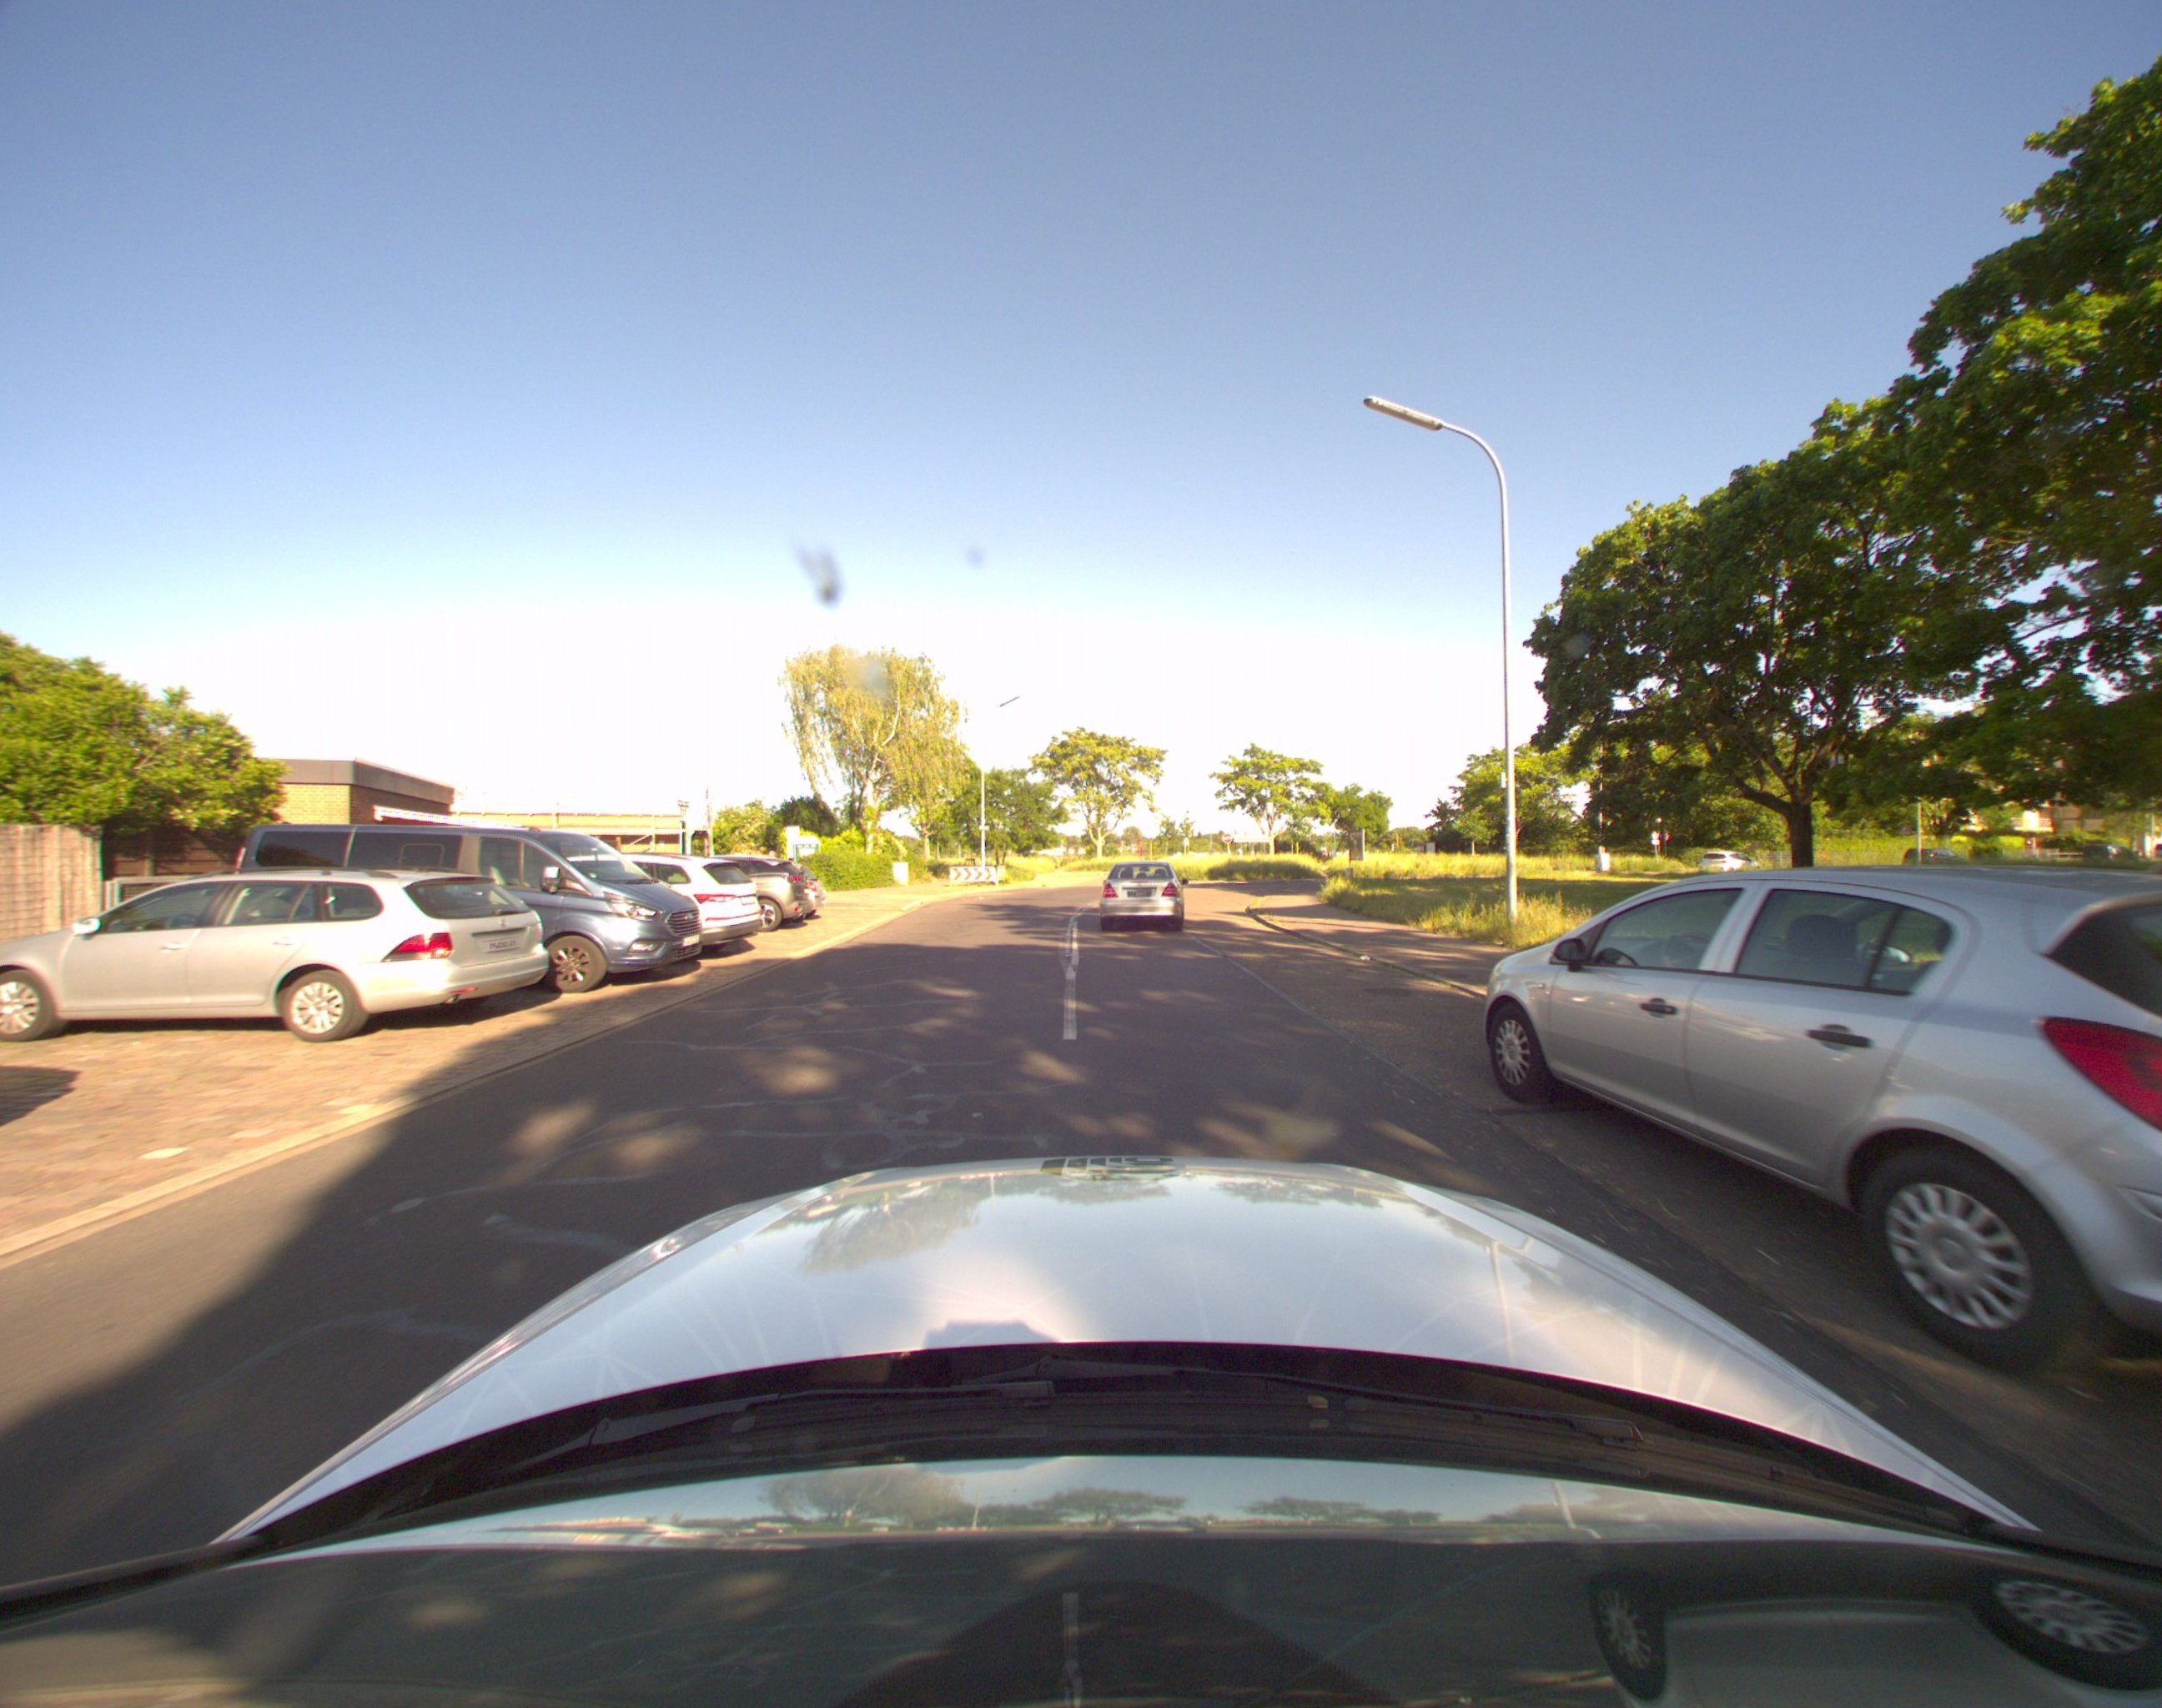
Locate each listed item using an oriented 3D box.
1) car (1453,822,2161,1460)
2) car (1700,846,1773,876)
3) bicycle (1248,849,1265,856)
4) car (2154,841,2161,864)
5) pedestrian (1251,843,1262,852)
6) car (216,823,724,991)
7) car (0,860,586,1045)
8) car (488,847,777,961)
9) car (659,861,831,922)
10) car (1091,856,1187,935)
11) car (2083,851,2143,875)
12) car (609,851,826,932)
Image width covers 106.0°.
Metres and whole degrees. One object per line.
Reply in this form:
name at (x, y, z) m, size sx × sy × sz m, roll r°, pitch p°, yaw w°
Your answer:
car at (3.484, 0.722, 3.856) m, size 1.726 × 1.543 × 3.788 m, roll 0°, pitch -1°, yaw 0°
car at (39.806, 0.416, 49.452) m, size 3.742 × 1.479 × 1.715 m, roll -3°, pitch -4°, yaw -21°
bicycle at (17.542, -0.126, 81.486) m, size 1.580 × 0.704 × 0.648 m, roll 1°, pitch 0°, yaw -28°
car at (89.551, -0.139, 66.191) m, size 3.849 × 1.851 × 1.693 m, roll -1°, pitch 2°, yaw -19°
pedestrian at (17.591, -0.653, 81.519) m, size 0.802 × 0.940 × 0.697 m, roll 0°, pitch 0°, yaw -27°
car at (-7.482, 0.621, 10.450) m, size 4.860 × 1.915 × 1.998 m, roll 0°, pitch -1°, yaw -3°
car at (-7.522, 0.857, 7.947) m, size 4.124 × 1.492 × 1.925 m, roll 1°, pitch -1°, yaw 0°
car at (-7.038, 0.753, 13.051) m, size 3.599 × 1.607 × 1.733 m, roll 2°, pitch -1°, yaw 1°
car at (-8.367, 0.925, 20.565) m, size 3.685 × 1.459 × 1.630 m, roll 0°, pitch -1°, yaw -9°
car at (1.396, 0.799, 17.889) m, size 1.806 × 1.463 × 4.370 m, roll 1°, pitch 0°, yaw 8°
car at (79.784, 0.665, 62.961) m, size 3.849 × 1.759 × 1.693 m, roll -1°, pitch 2°, yaw -19°
car at (-8.029, 0.799, 18.269) m, size 3.973 × 1.612 × 1.819 m, roll 2°, pitch -1°, yaw 1°
